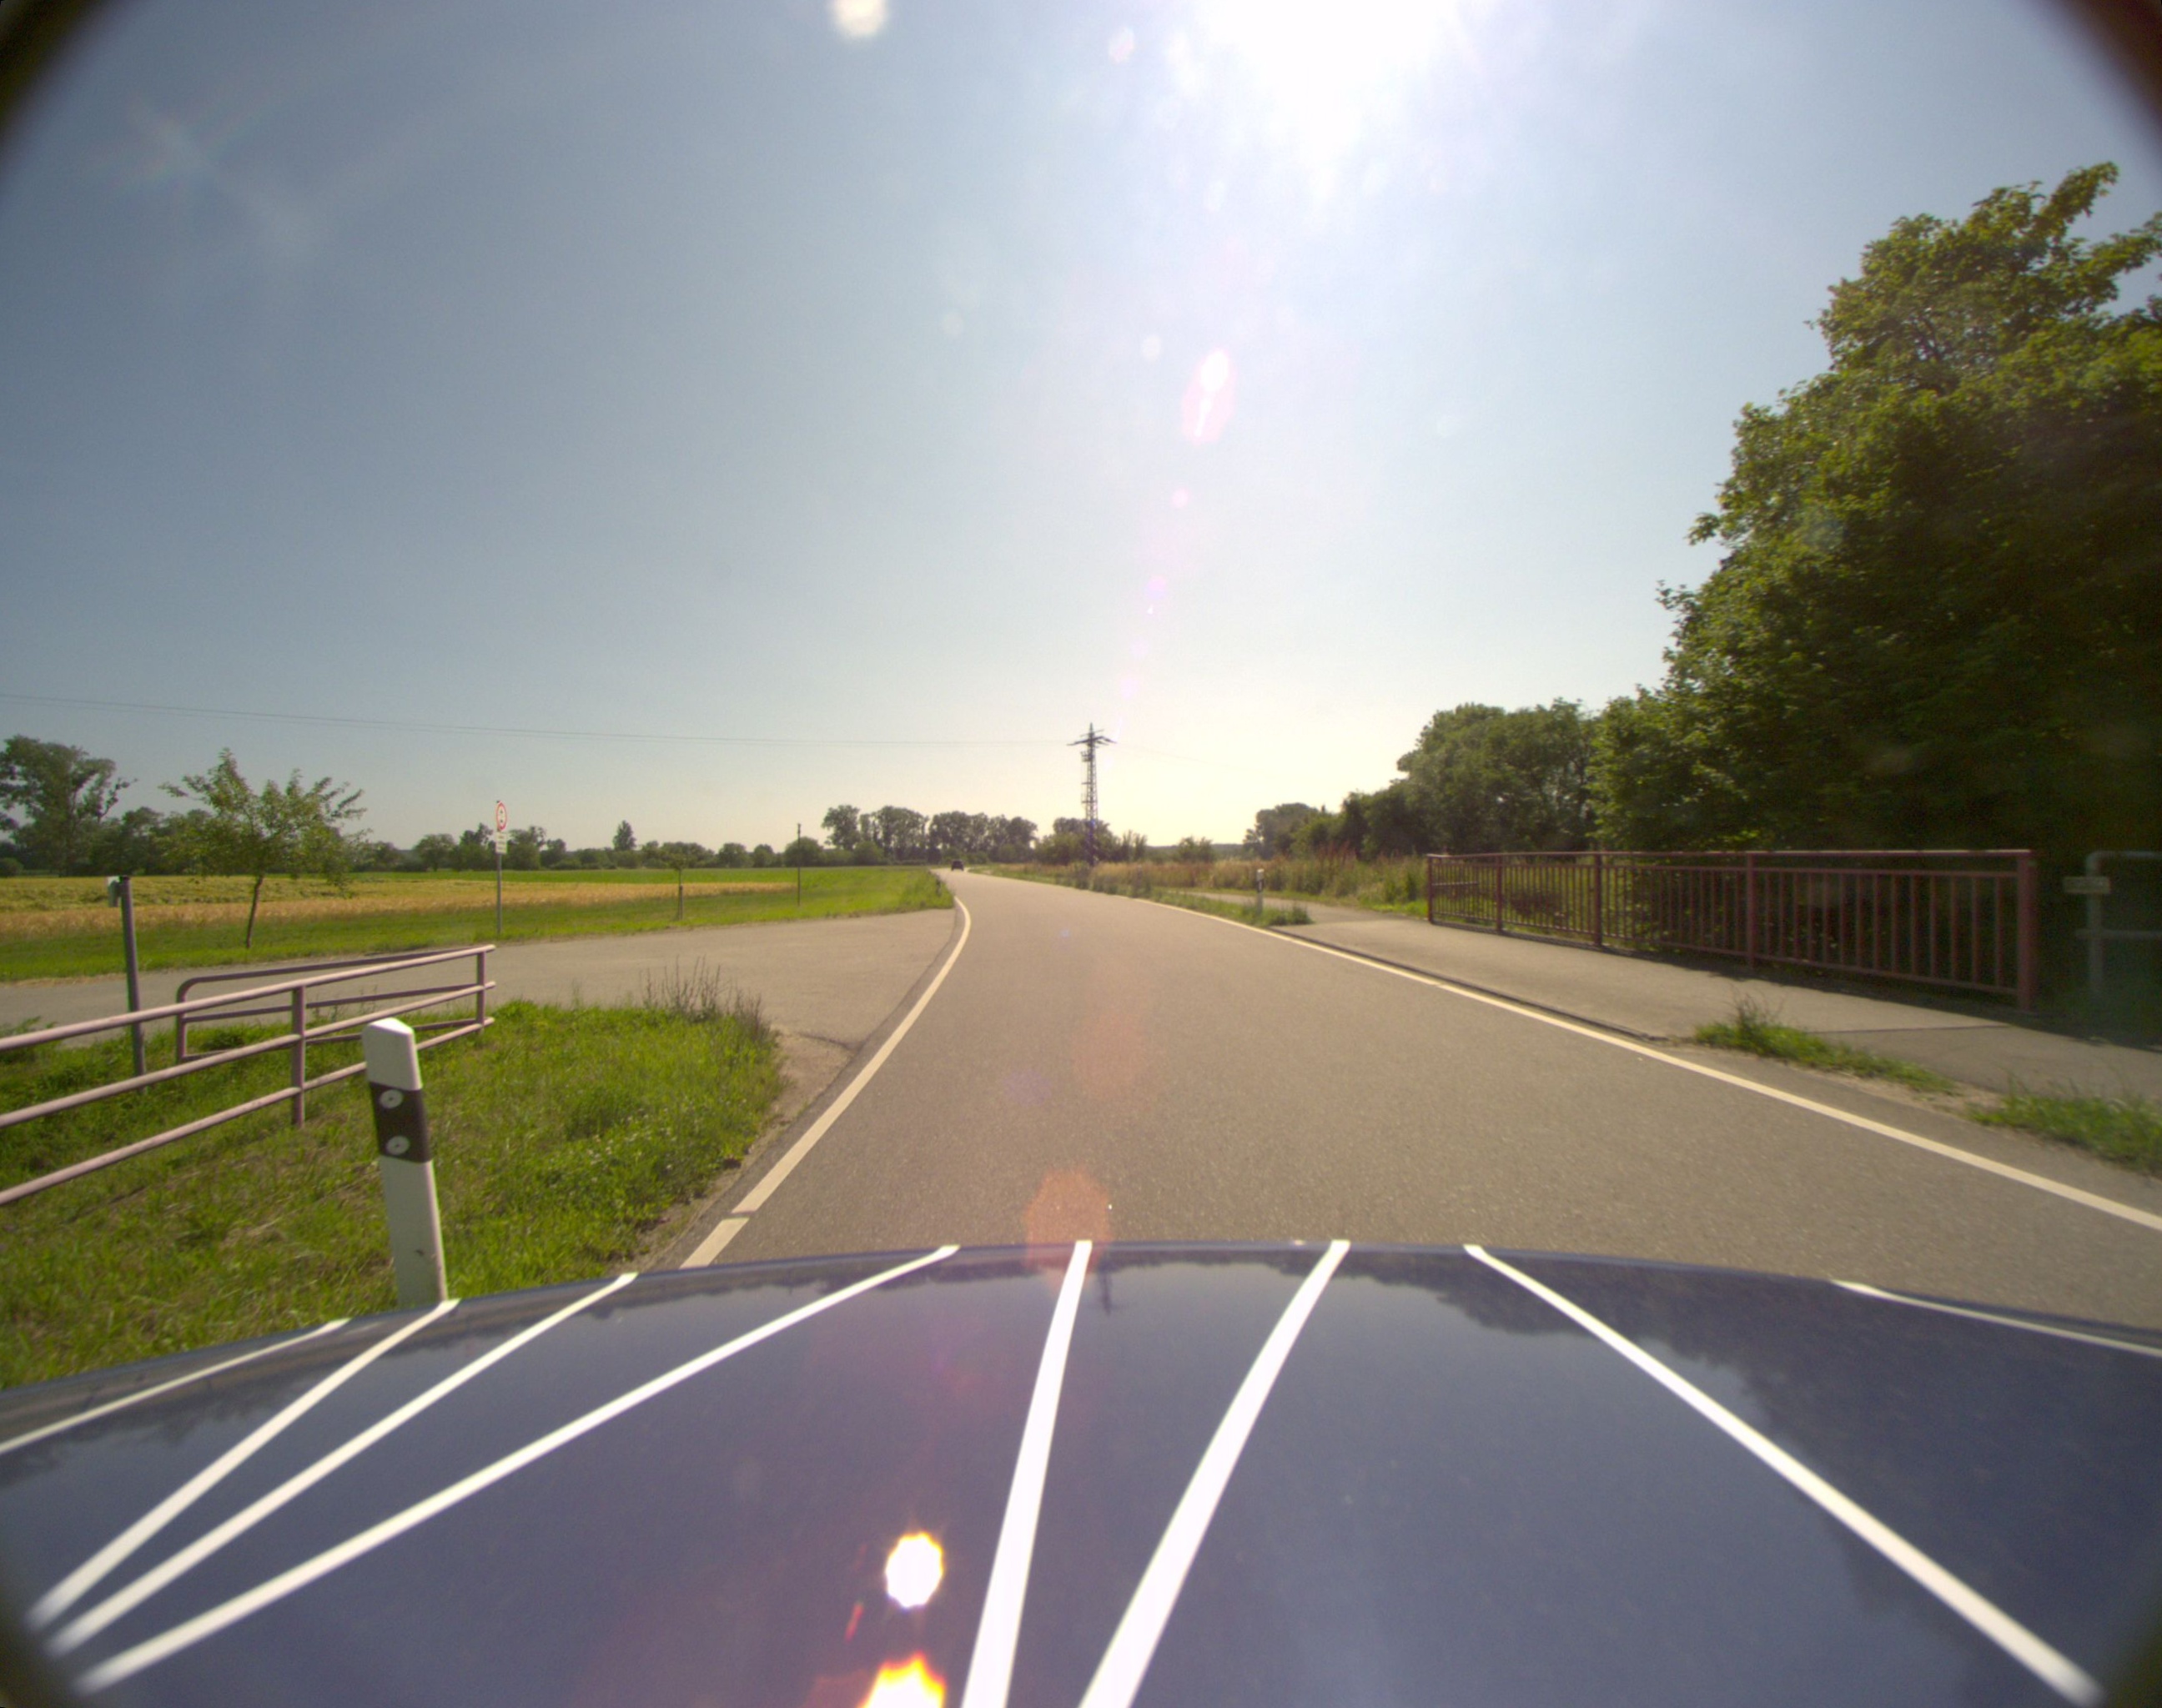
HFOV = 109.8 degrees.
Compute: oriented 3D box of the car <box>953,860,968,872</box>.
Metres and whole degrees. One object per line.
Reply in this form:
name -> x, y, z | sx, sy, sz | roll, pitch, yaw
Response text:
car -> -18.841, 1.876, 118.953 | 1.871, 1.742, 4.295 | 0, 0, -4
